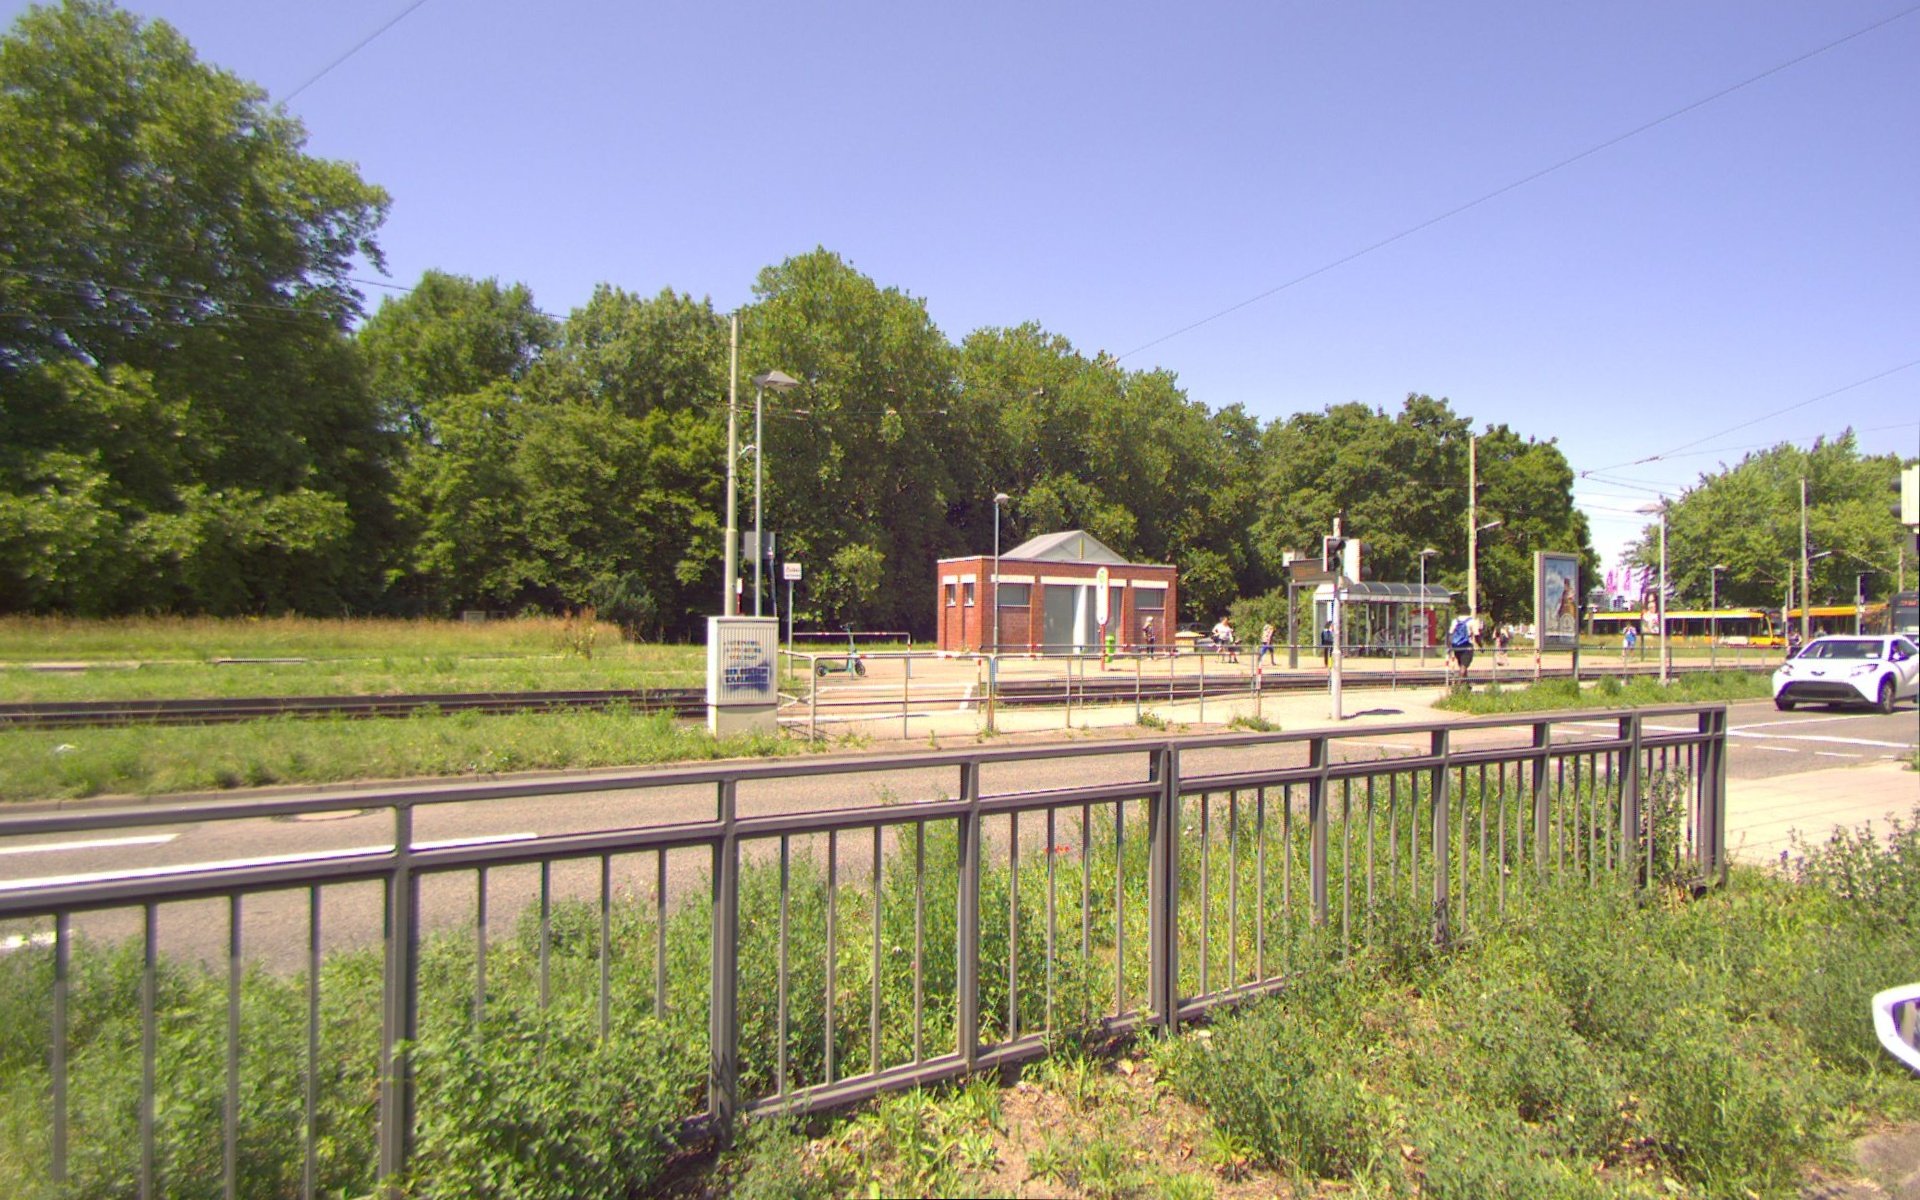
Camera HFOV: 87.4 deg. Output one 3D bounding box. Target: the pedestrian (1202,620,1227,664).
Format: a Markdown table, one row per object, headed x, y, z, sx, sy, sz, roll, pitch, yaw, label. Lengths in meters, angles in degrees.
| x | y | z | sx | sy | sz | roll | pitch | yaw | label |
| --- | --- | --- | --- | --- | --- | --- | --- | --- | --- |
| 8.688 | 1.417 | 34.279 | 0.573 | 1.476 | 0.639 | 1 | -1 | -15 | pedestrian |

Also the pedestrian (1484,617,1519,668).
| x | y | z | sx | sy | sz | roll | pitch | yaw | label |
| --- | --- | --- | --- | --- | --- | --- | --- | --- | --- |
| 20.032 | 1.554 | 37.151 | 0.832 | 1.802 | 0.714 | -1 | 5 | -30 | pedestrian |

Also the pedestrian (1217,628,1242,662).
| x | y | z | sx | sy | sz | roll | pitch | yaw | label |
| --- | --- | --- | --- | --- | --- | --- | --- | --- | --- |
| 9.273 | 1.532 | 34.553 | 0.560 | 1.139 | 0.639 | 1 | -1 | -15 | pedestrian |

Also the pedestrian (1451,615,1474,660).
| x | y | z | sx | sy | sz | roll | pitch | yaw | label |
| --- | --- | --- | --- | --- | --- | --- | --- | --- | --- |
| 20.818 | 1.555 | 41.612 | 0.707 | 1.824 | 0.845 | 0 | -1 | 17 | pedestrian |

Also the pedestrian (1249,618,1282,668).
| x | y | z | sx | sy | sz | roll | pitch | yaw | label |
| --- | --- | --- | --- | --- | --- | --- | --- | --- | --- |
| 10.170 | 1.427 | 33.450 | 0.799 | 1.611 | 0.668 | 1 | -1 | -30 | pedestrian |

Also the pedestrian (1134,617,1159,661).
| x | y | z | sx | sy | sz | roll | pitch | yaw | label |
| --- | --- | --- | --- | --- | --- | --- | --- | --- | --- |
| 6.506 | 1.360 | 35.079 | 0.563 | 1.499 | 0.636 | 1 | -1 | -30 | pedestrian |

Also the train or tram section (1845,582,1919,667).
| x | y | z | sx | sy | sz | roll | pitch | yaw | label |
| --- | --- | --- | --- | --- | --- | --- | --- | --- | --- |
| 50.541 | 1.346 | 54.447 | 3.177 | 3.984 | 18.415 | 0 | -1 | 39 | train or tram section |

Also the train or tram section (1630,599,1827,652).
| x | y | z | sx | sy | sz | roll | pitch | yaw | label |
| --- | --- | --- | --- | --- | --- | --- | --- | --- | --- |
| 64.837 | 2.138 | 85.954 | 3.162 | 3.984 | 18.505 | 1 | -1 | 1 | train or tram section |

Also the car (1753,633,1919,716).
| x | y | z | sx | sy | sz | roll | pitch | yaw | label |
| --- | --- | --- | --- | --- | --- | --- | --- | --- | --- |
| 18.057 | 1.445 | 20.407 | 3.747 | 1.514 | 1.836 | 1 | -1 | -30 | car |

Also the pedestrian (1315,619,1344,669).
| x | y | z | sx | sy | sz | roll | pitch | yaw | label |
| --- | --- | --- | --- | --- | --- | --- | --- | --- | --- |
| 11.923 | 1.401 | 32.377 | 0.688 | 1.575 | 0.629 | 1 | -1 | -42 | pedestrian |

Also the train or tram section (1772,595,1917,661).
| x | y | z | sx | sy | sz | roll | pitch | yaw | label |
| --- | --- | --- | --- | --- | --- | --- | --- | --- | --- |
| 60.742 | 1.929 | 69.690 | 3.167 | 3.984 | 18.476 | 0 | -1 | 27 | train or tram section |

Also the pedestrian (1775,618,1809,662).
| x | y | z | sx | sy | sz | roll | pitch | yaw | label |
| --- | --- | --- | --- | --- | --- | --- | --- | --- | --- |
| 39.191 | 1.862 | 47.315 | 1.009 | 2.040 | 0.976 | 1 | -1 | -30 | pedestrian |

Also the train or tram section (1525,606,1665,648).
| x | y | z | sx | sy | sz | roll | pitch | yaw | label |
| --- | --- | --- | --- | --- | --- | --- | --- | --- | --- |
| 65.282 | 2.721 | 104.331 | 3.162 | 3.984 | 18.504 | 1 | -1 | 1 | train or tram section |

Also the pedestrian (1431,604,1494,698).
| x | y | z | sx | sy | sz | roll | pitch | yaw | label |
| --- | --- | --- | --- | --- | --- | --- | --- | --- | --- |
| 10.155 | 1.009 | 20.302 | 0.832 | 1.802 | 0.714 | -1 | 5 | -30 | pedestrian |

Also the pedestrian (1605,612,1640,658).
| x | y | z | sx | sy | sz | roll | pitch | yaw | label |
| --- | --- | --- | --- | --- | --- | --- | --- | --- | --- |
| 30.290 | 1.591 | 45.920 | 1.009 | 2.040 | 0.976 | 1 | -1 | -30 | pedestrian |

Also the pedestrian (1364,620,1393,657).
| x | y | z | sx | sy | sz | roll | pitch | yaw | label |
| --- | --- | --- | --- | --- | --- | --- | --- | --- | --- |
| 17.244 | 1.578 | 41.371 | 0.710 | 1.531 | 0.841 | 1 | -1 | -19 | pedestrian |

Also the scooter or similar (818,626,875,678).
| x | y | z | sx | sy | sz | roll | pitch | yaw | label |
| --- | --- | --- | --- | --- | --- | --- | --- | --- | --- |
| -2.639 | 1.207 | 23.449 | 1.217 | 1.183 | 0.508 | 1 | -1 | -30 | scooter or similar |
